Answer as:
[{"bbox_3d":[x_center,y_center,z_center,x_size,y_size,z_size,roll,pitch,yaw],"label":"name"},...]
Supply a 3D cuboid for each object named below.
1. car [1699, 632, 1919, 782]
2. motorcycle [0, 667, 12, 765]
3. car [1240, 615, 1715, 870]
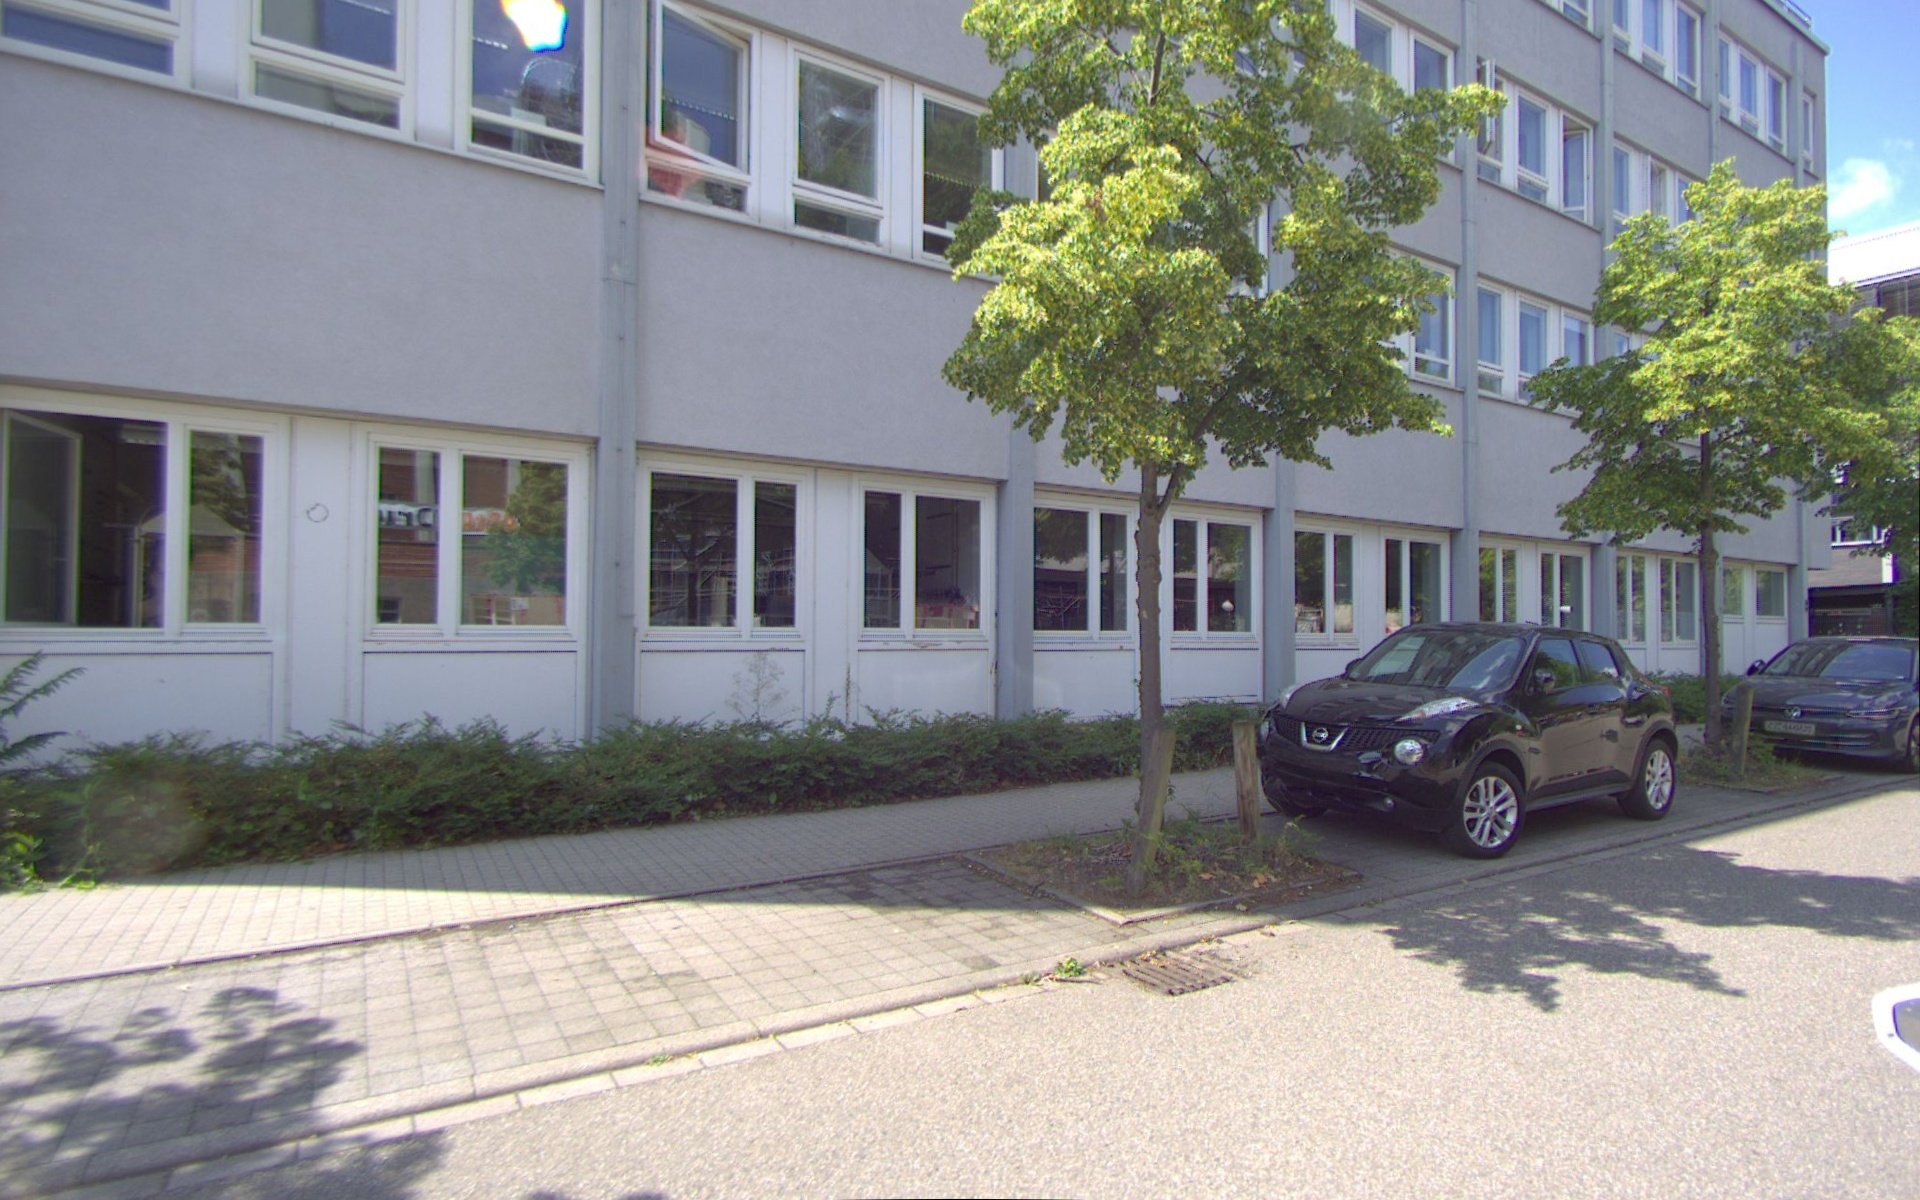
[{"bbox_3d":[10.824,1.152,12.125,4.214,1.480,1.767,1,-1,-34],"label":"car"},{"bbox_3d":[-10.487,1.236,10.104,0.871,1.056,2.166,1,-2,-30],"label":"motorcycle"},{"bbox_3d":[4.267,0.951,8.101,4.025,1.584,1.687,1,-2,-34],"label":"car"}]
